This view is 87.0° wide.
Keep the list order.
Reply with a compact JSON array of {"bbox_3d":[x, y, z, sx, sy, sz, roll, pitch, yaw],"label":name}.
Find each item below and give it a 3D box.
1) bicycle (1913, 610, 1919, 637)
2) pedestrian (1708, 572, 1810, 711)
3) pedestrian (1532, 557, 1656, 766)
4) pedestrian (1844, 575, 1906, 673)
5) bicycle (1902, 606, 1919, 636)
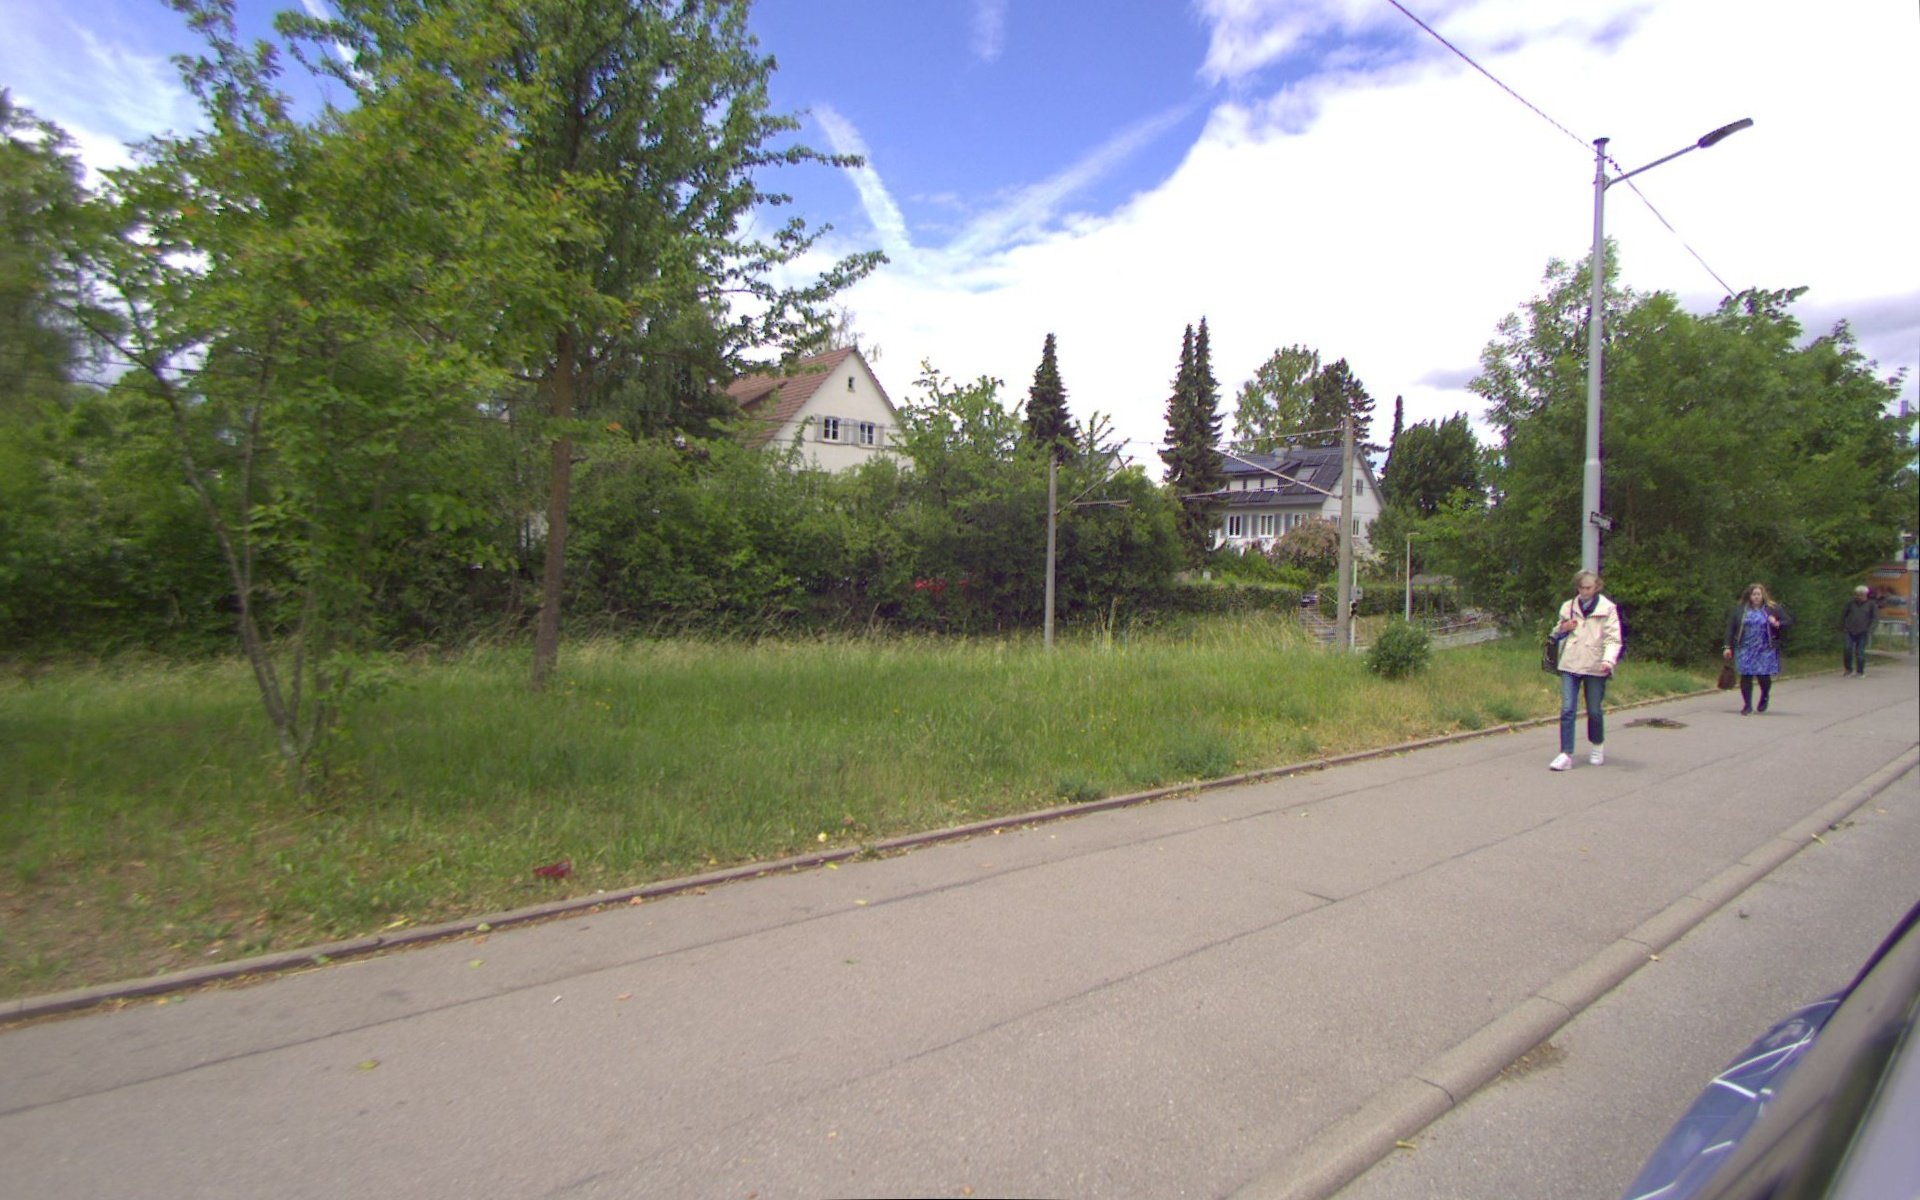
[{"bbox_3d":[38.144,0.916,38.922,0.548,1.061,2.094,0,-1,-36],"label":"bicycle"},{"bbox_3d":[10.106,0.494,12.810,0.751,1.680,0.842,0,0,-35],"label":"pedestrian"},{"bbox_3d":[5.387,0.489,8.613,0.677,1.680,0.688,0,0,-35],"label":"pedestrian"},{"bbox_3d":[18.295,0.461,20.244,0.786,1.906,0.748,0,0,-33],"label":"pedestrian"},{"bbox_3d":[36.994,0.841,38.154,0.536,1.094,2.096,0,2,-36],"label":"bicycle"}]
